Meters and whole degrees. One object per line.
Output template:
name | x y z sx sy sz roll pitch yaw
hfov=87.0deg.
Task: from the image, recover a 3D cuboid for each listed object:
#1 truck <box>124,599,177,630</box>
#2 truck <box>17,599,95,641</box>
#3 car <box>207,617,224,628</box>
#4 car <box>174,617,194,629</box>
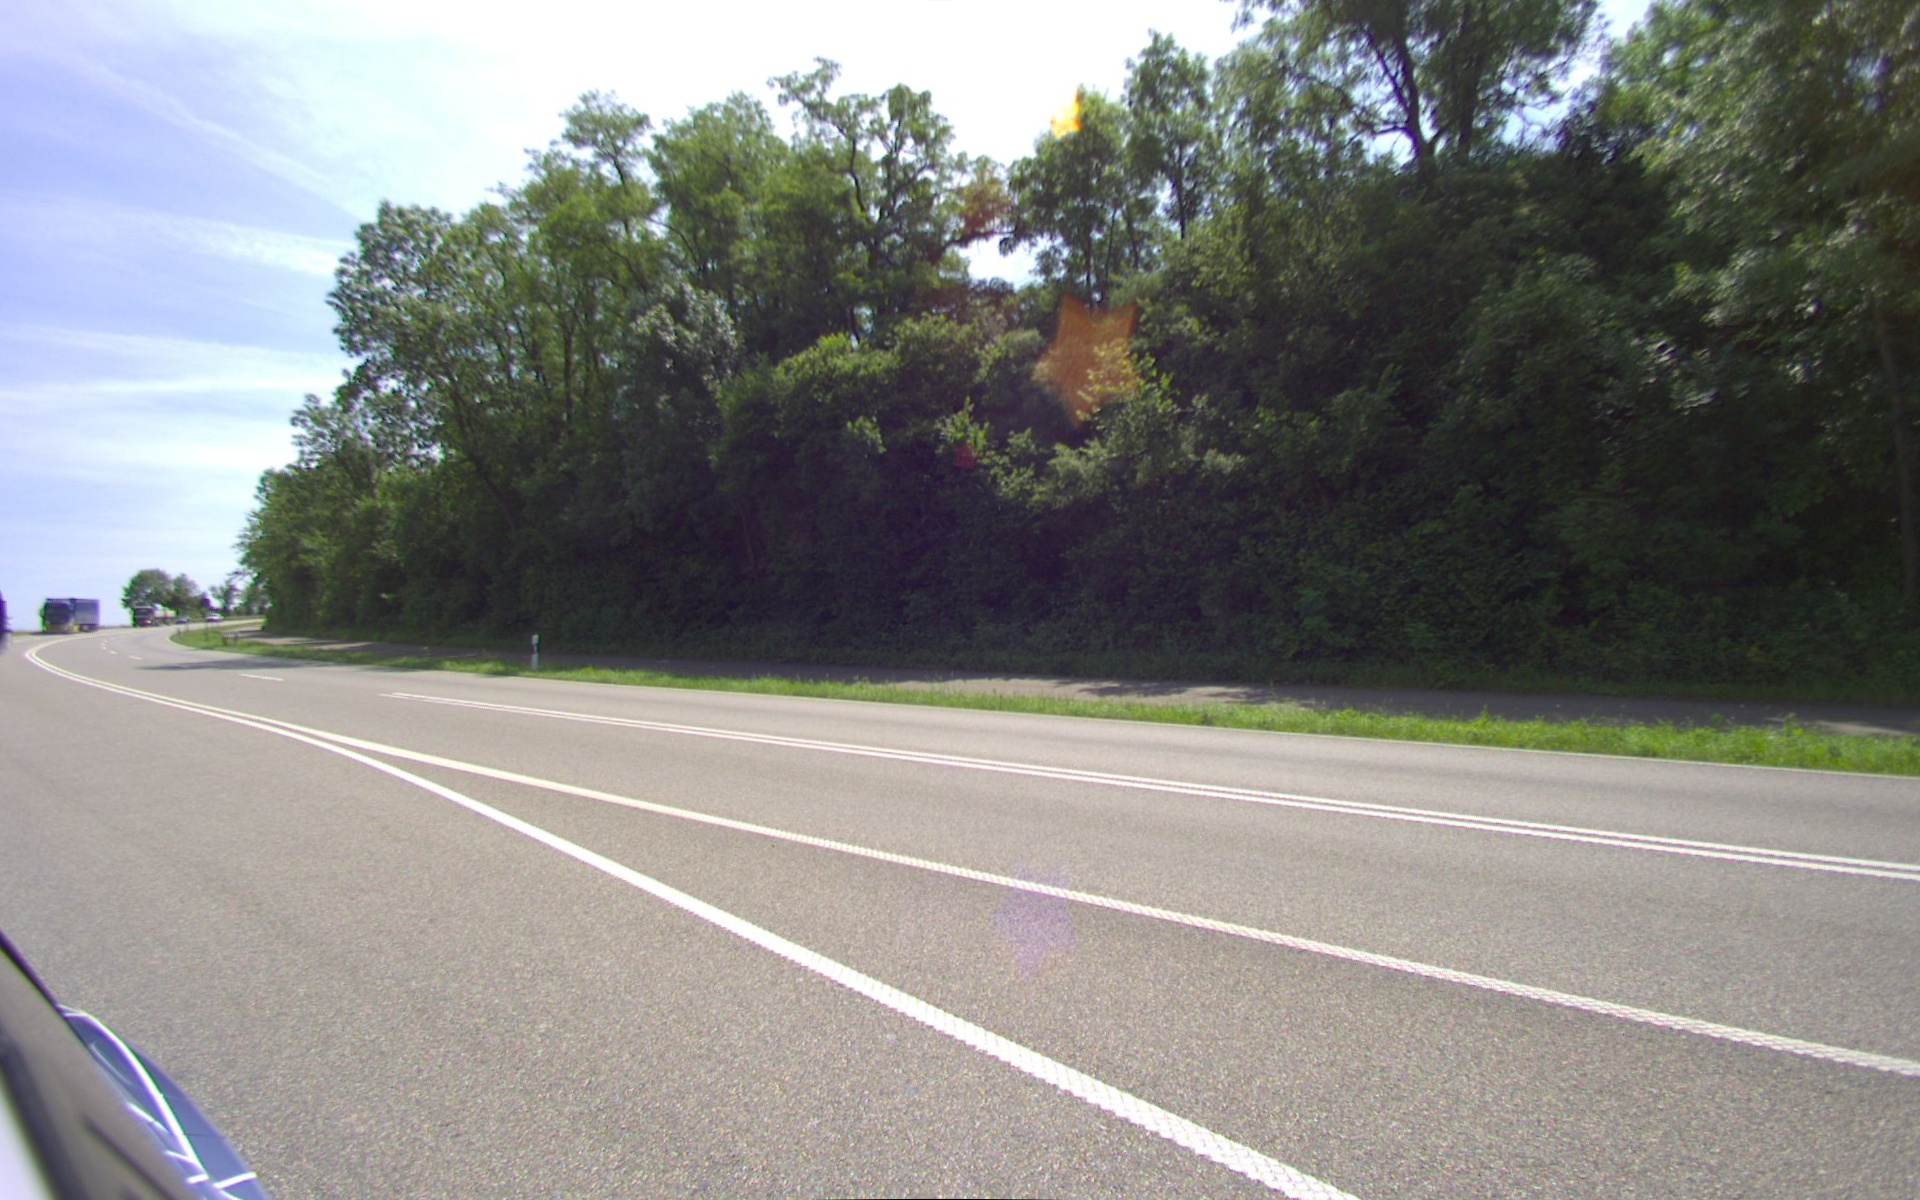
truck | -125.873 2.305 157.636 3.921 4.493 14.385 -1 -1 -28
truck | -103.390 2.320 116.049 4.327 4.493 14.753 -1 -1 -32
car | -142.050 4.280 193.126 1.826 2.029 3.901 0 0 -22
car | -135.382 4.072 176.639 1.886 2.029 4.189 0 0 -25
